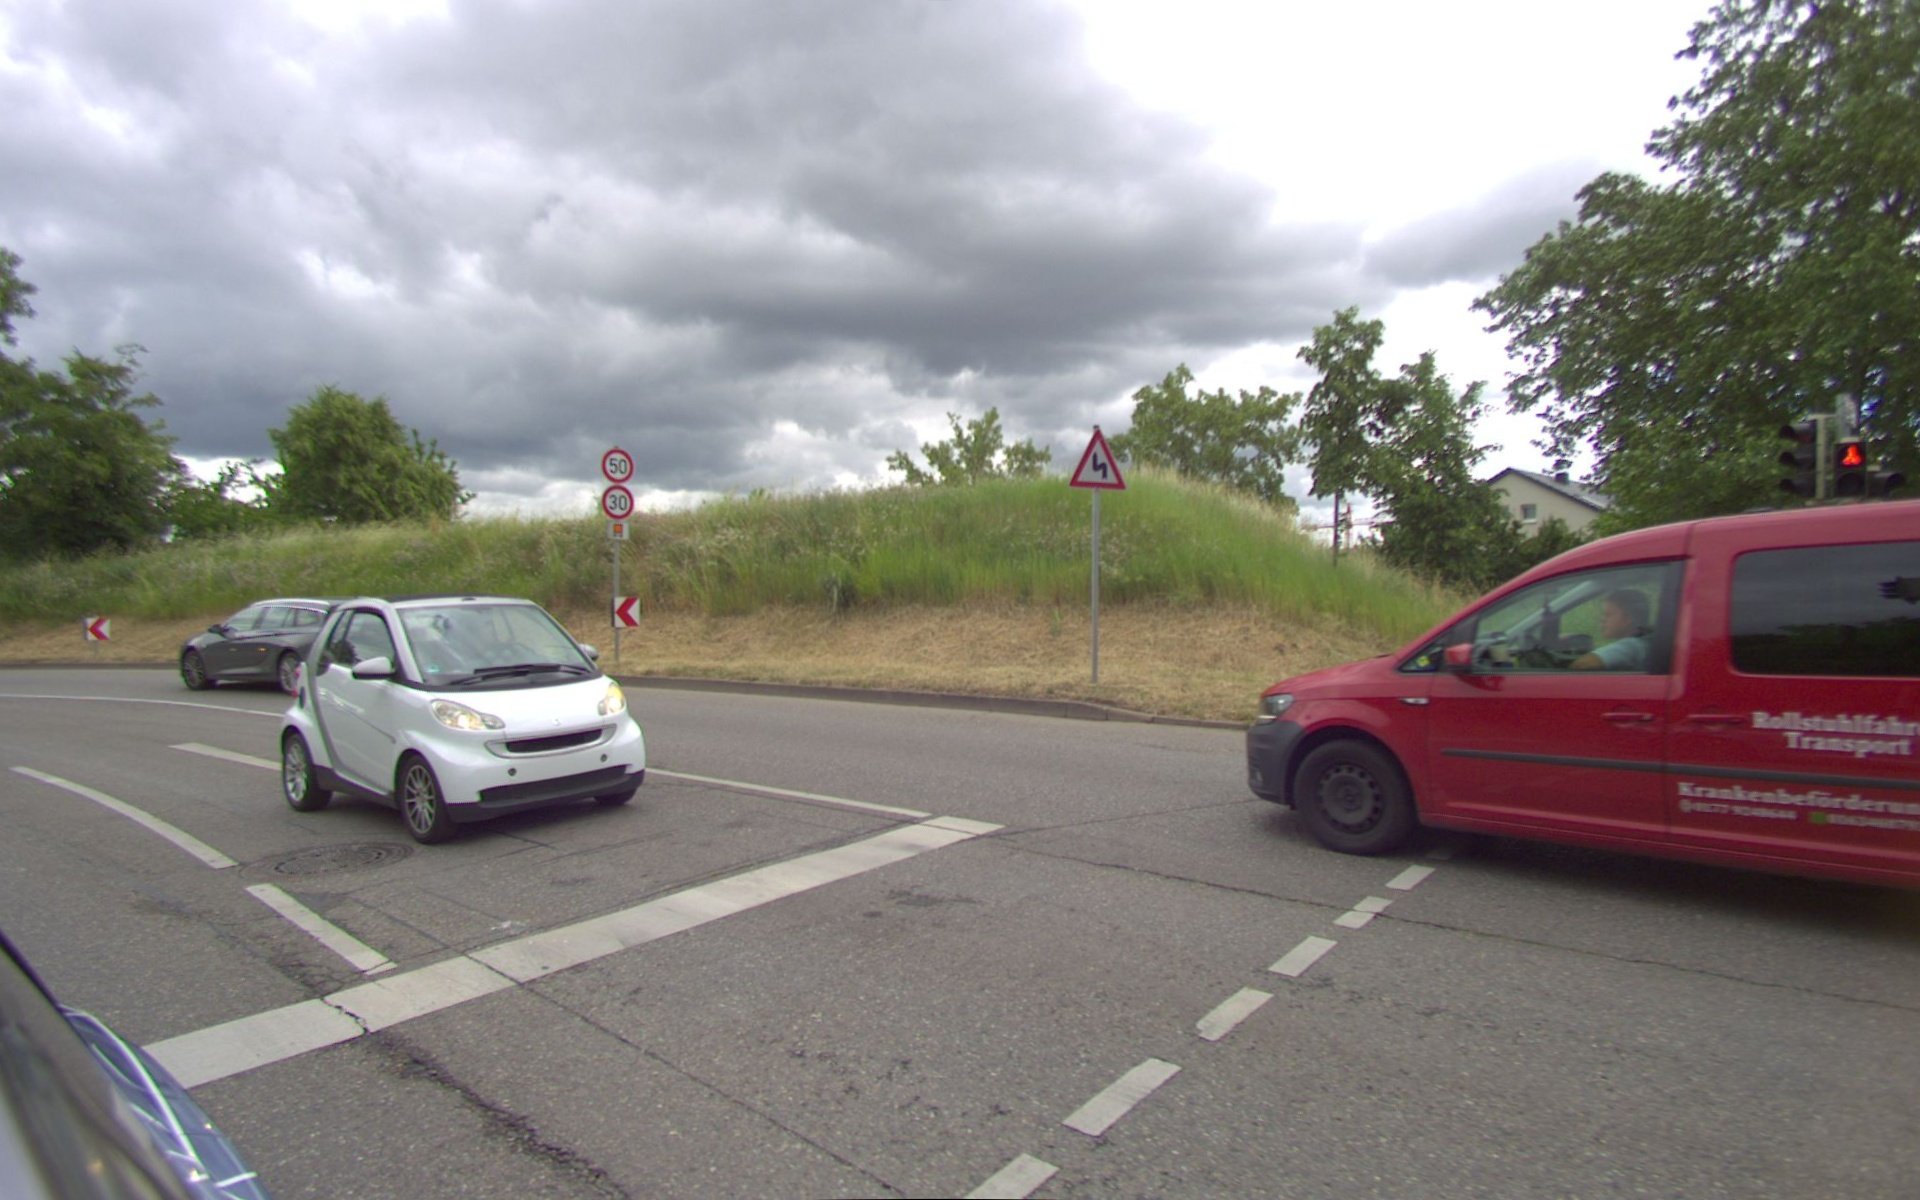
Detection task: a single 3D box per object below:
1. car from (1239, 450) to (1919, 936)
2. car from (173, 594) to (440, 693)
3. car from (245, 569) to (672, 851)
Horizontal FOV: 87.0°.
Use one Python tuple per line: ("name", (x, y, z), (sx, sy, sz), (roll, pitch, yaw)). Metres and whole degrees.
("car", (3.875, 0.350, 4.778), (1.668, 1.839, 4.729), (-1, 0, -44))
("car", (-10.748, 0.672, 16.597), (4.400, 1.431, 1.754), (-1, 0, 28))
("car", (-3.689, 0.640, 7.321), (3.012, 1.569, 1.561), (-1, 2, 38))
